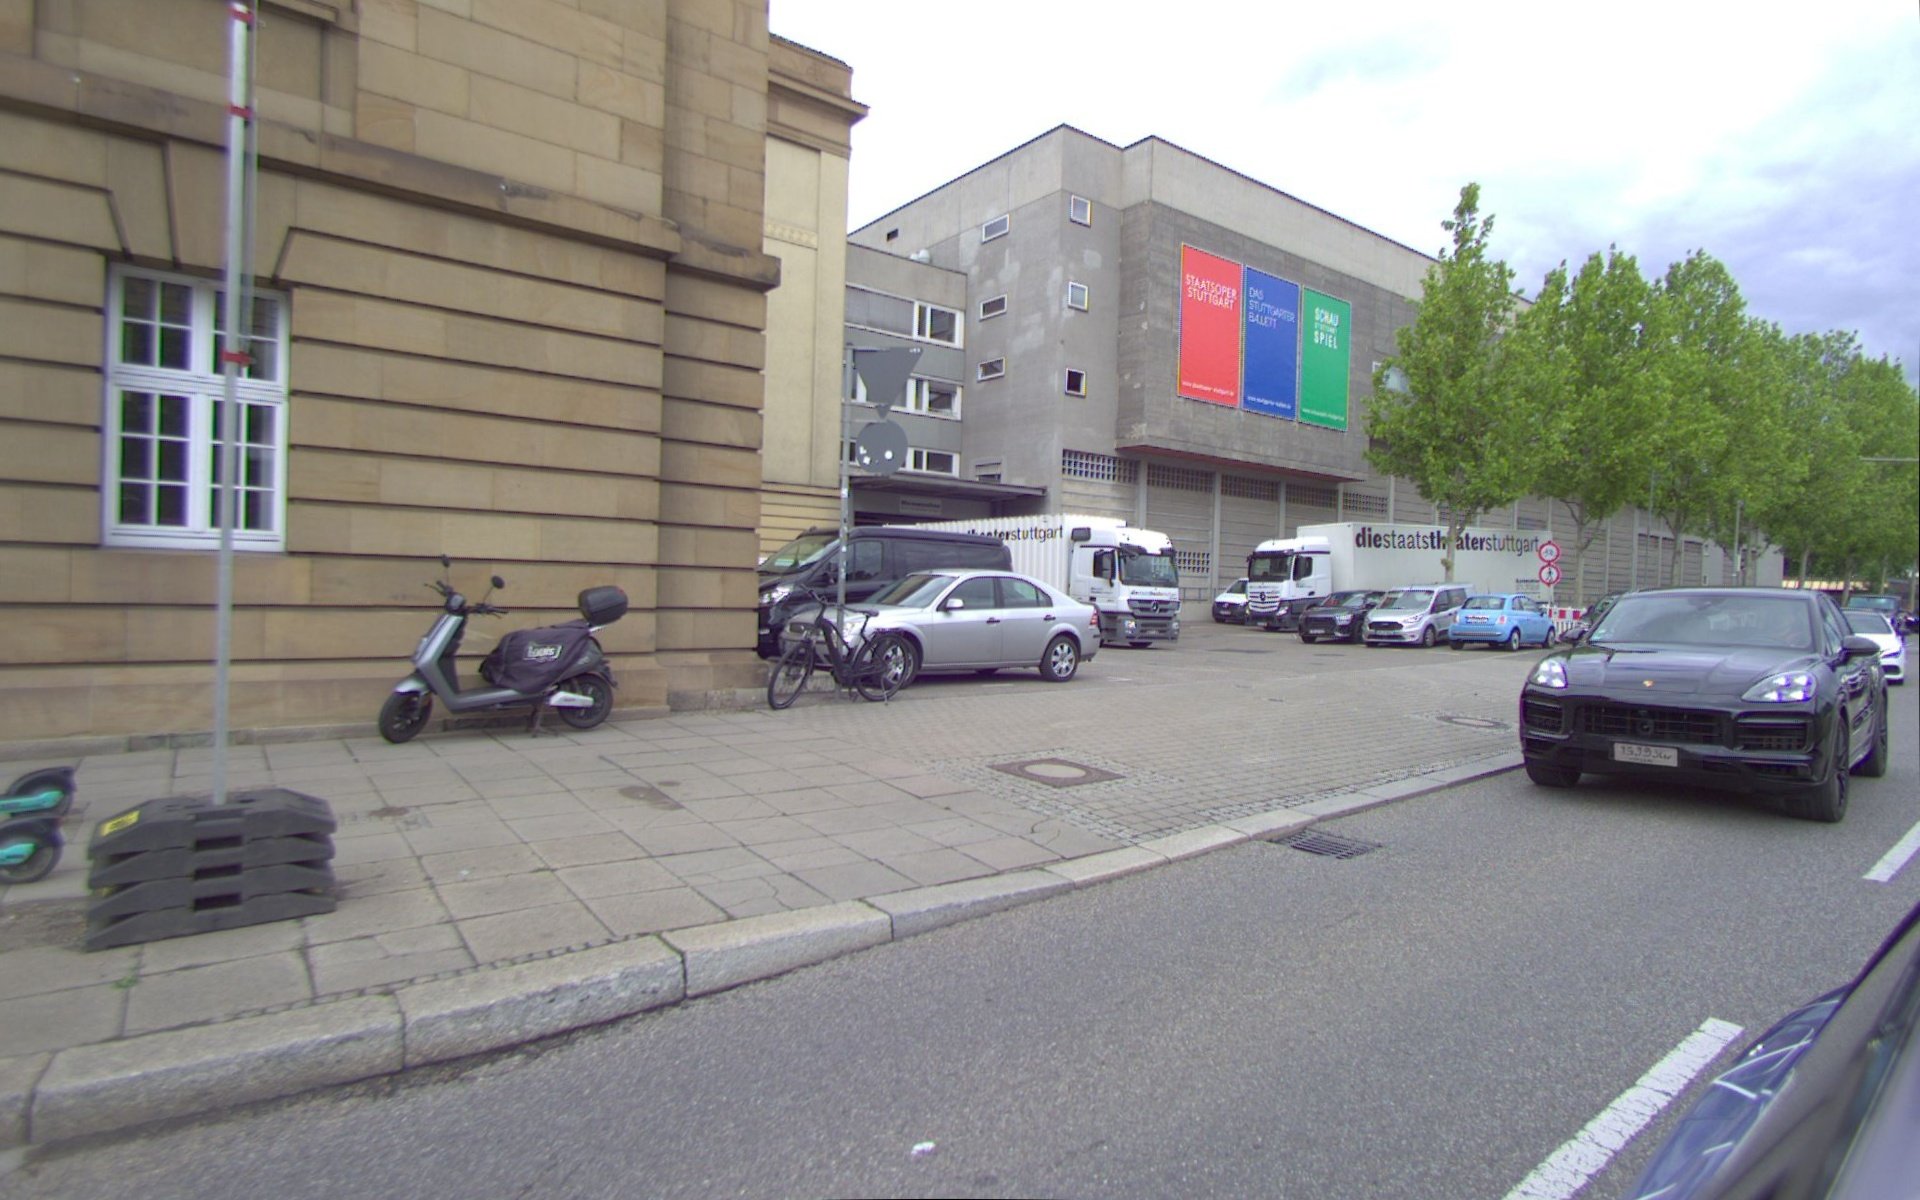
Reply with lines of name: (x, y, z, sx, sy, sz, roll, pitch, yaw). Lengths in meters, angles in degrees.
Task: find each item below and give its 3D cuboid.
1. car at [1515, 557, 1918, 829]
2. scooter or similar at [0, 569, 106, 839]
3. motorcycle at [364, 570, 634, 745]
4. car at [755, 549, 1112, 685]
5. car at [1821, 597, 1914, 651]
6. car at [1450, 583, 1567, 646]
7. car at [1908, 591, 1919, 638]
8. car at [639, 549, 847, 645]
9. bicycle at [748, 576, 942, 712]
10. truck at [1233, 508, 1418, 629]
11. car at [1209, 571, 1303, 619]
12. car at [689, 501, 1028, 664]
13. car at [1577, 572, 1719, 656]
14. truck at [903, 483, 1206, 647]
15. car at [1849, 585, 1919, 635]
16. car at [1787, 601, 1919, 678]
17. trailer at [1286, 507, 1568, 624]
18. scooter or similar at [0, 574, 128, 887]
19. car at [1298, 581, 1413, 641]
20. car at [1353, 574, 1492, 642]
car: (6.374, 0.563, 8.351, 4.128, 1.678, 1.906, 0, 0, -42)
scooter or similar: (-4.873, 0.498, 4.664, 0.449, 1.268, 1.354, 1, 2, 31)
motorcycle: (-3.615, 0.415, 8.026, 1.886, 1.257, 0.456, 0, 2, -35)
car: (-0.215, 0.205, 13.161, 4.492, 1.488, 1.782, 1, 0, -39)
car: (27.041, 0.676, 30.126, 3.559, 1.491, 1.611, 0, 1, -41)
car: (14.523, 0.354, 26.734, 3.441, 1.549, 1.583, 0, 0, -40)
car: (44.186, 0.645, 45.493, 3.932, 2.039, 1.996, 0, -1, -43)
car: (-4.122, -0.038, 19.489, 3.551, 1.690, 1.646, 1, 0, -39)
bicycle: (-1.140, 0.412, 10.343, 1.928, 1.239, 0.610, 0, 4, -41)
truck: (13.683, -1.107, 37.764, 6.443, 4.136, 3.145, 0, 0, -31)
car: (12.133, -0.213, 41.417, 3.924, 1.905, 1.560, 0, 0, -35)
car: (-1.403, -0.204, 15.327, 4.827, 2.095, 1.952, 1, 0, -39)
car: (16.101, 0.313, 23.592, 4.409, 1.760, 1.806, 1, 0, -43)
truck: (2.435, -1.101, 31.186, 2.944, 4.257, 10.383, 1, 2, -38)
car: (38.778, 0.395, 42.029, 4.318, 1.950, 1.953, 0, 1, -38)
car: (18.430, 0.724, 20.612, 3.932, 1.393, 1.932, 0, 0, -42)
trailer: (19.171, -1.266, 40.914, 13.695, 4.153, 3.160, -1, -1, -31)
scooter or similar: (-4.272, 0.531, 4.095, 1.377, 1.277, 0.380, 0, 1, -38)
car: (12.063, 0.294, 30.803, 3.694, 1.710, 1.718, 0, 0, -40)
car: (13.235, 0.225, 28.868, 4.539, 1.807, 1.808, 0, -2, -40)
